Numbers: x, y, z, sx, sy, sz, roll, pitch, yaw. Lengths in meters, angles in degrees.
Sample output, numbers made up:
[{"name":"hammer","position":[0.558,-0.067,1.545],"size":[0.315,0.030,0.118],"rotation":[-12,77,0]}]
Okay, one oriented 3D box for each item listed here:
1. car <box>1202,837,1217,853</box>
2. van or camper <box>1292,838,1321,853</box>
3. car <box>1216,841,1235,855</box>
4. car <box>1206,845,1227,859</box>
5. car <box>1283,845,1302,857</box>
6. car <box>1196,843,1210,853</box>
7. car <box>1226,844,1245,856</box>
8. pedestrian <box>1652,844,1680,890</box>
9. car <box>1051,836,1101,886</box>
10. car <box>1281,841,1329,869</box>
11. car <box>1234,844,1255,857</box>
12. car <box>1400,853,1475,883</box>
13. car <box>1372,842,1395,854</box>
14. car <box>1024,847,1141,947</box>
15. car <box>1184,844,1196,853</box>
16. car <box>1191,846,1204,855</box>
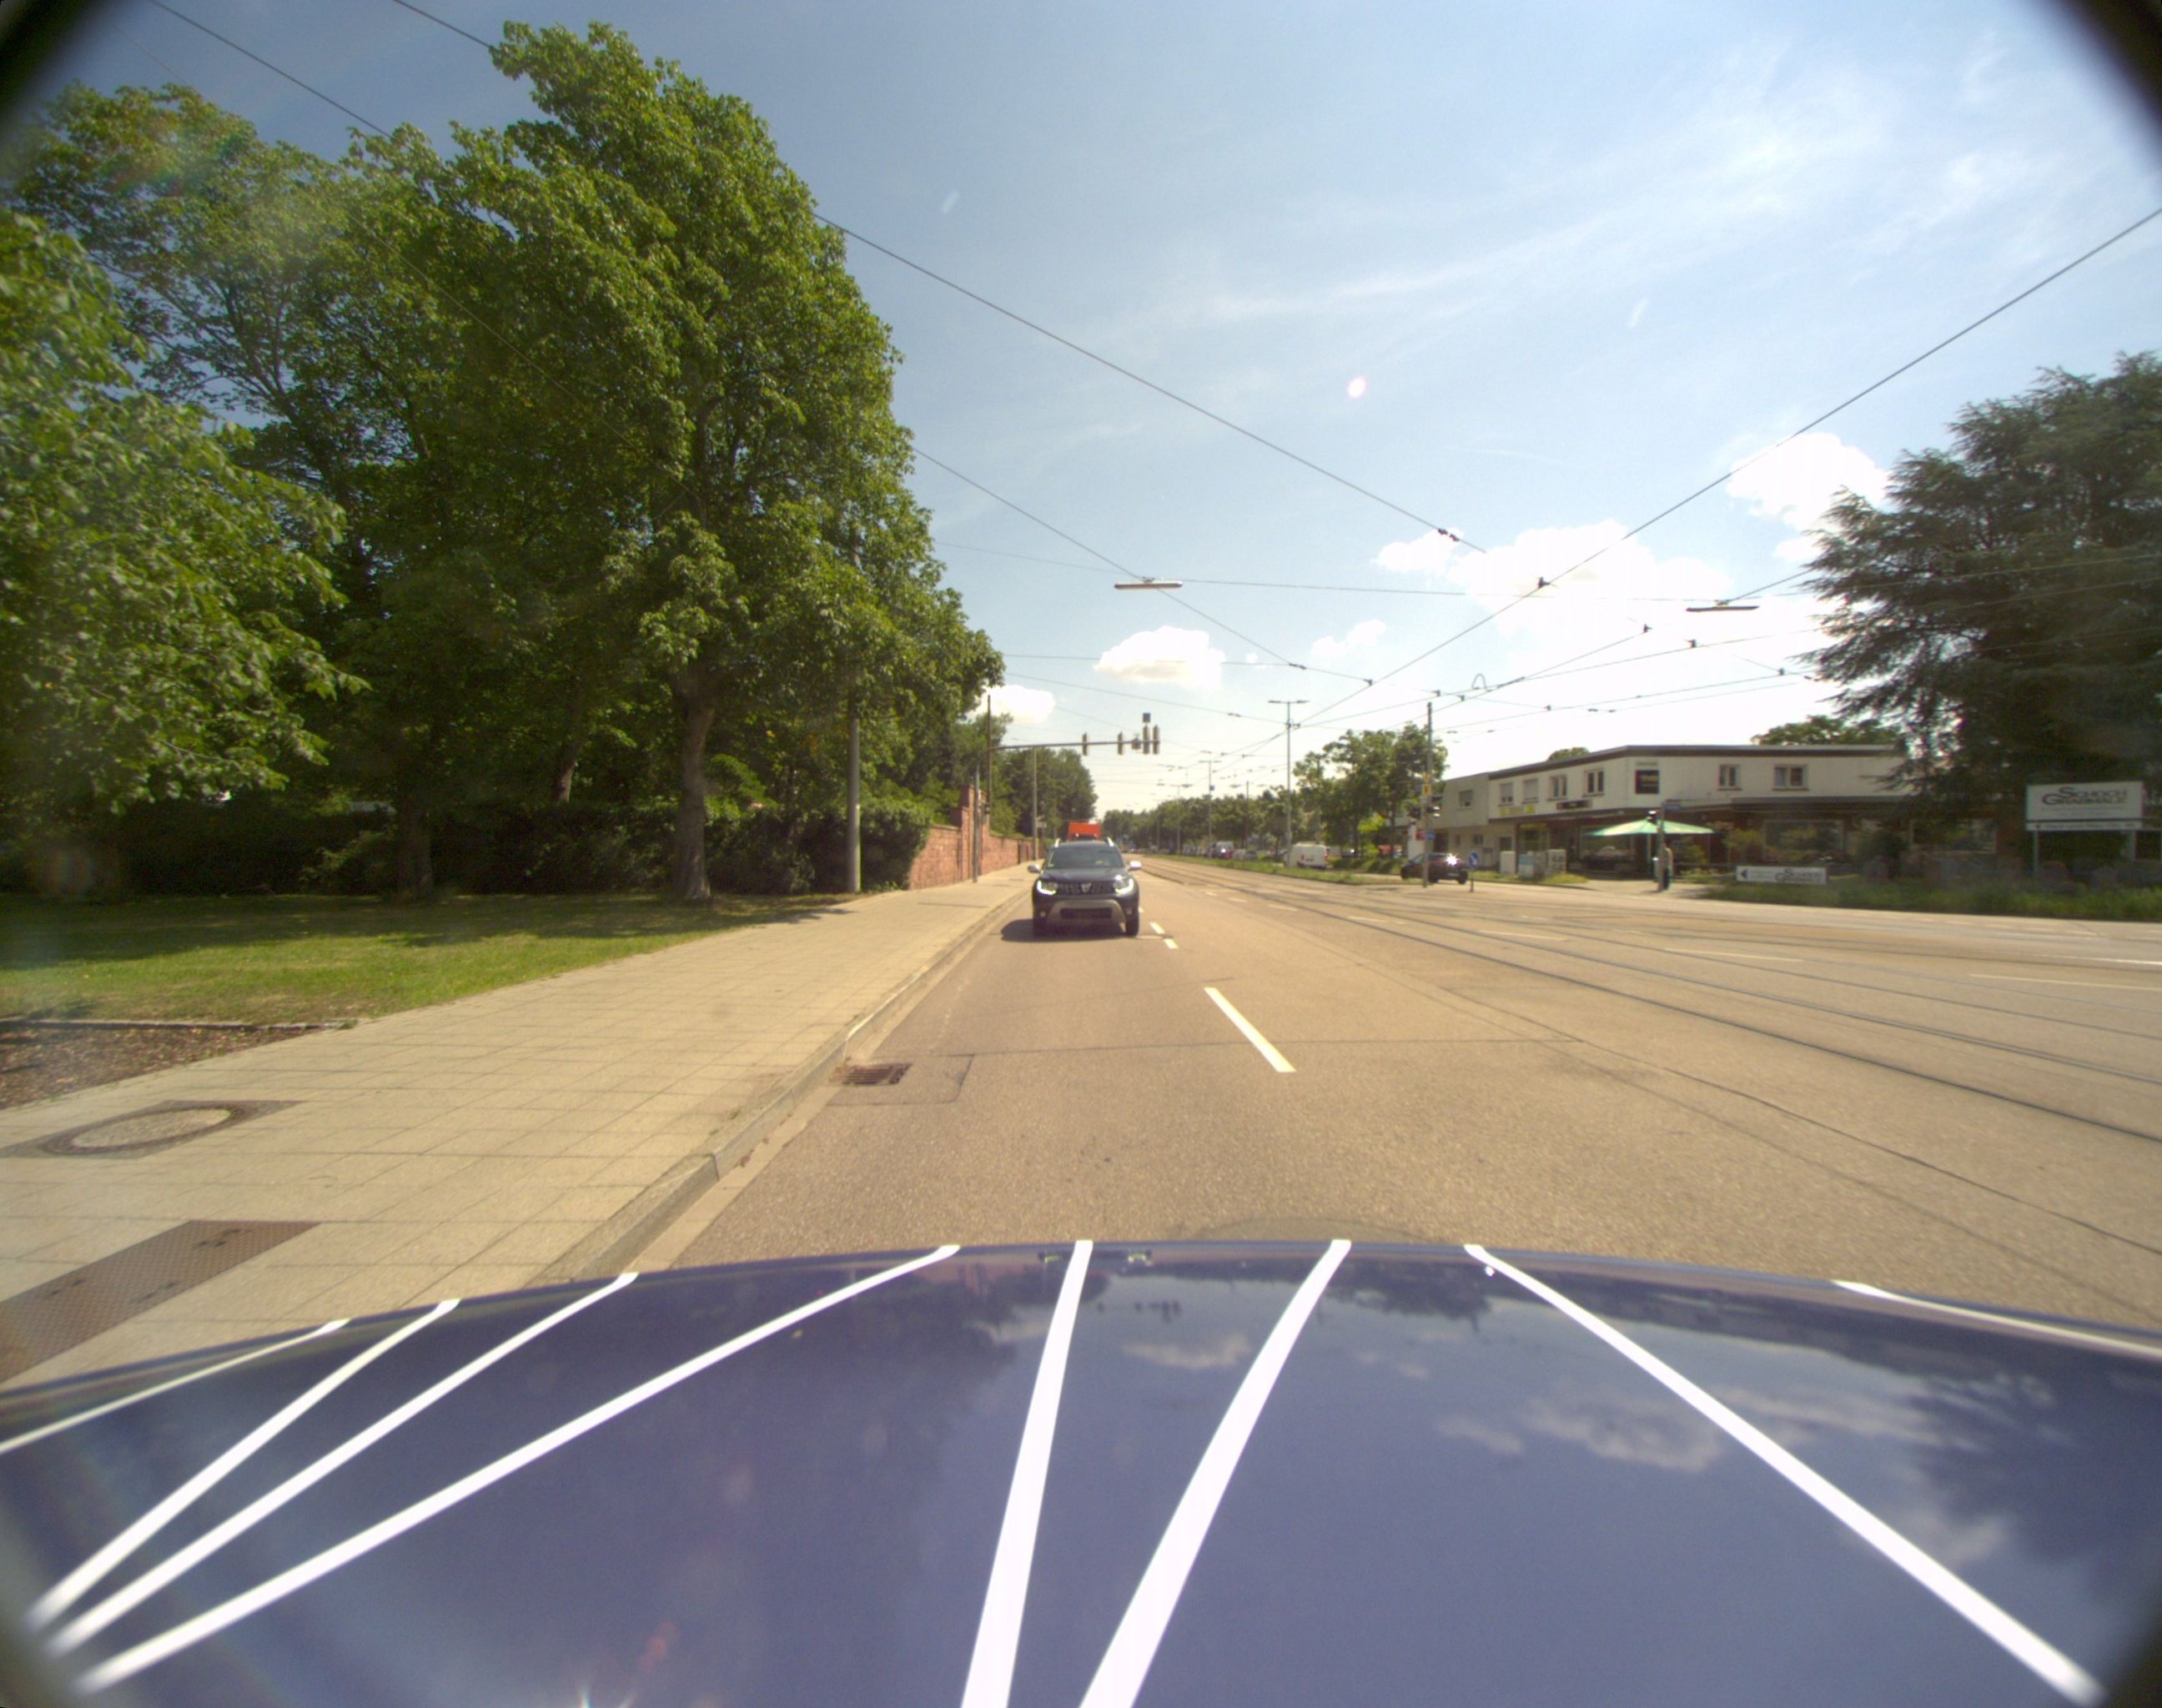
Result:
[{"name":"car","position":[20.994,-1.402,124.038],"size":[1.744,2.573,3.999],"rotation":[0,1,0]},{"name":"van or camper","position":[44.942,-1.679,151.296],"size":[5.157,3.099,2.247],"rotation":[0,1,0]},{"name":"car","position":[20.755,-0.863,109.263],"size":[1.966,1.953,3.999],"rotation":[0,1,0]},{"name":"car","position":[15.753,-0.278,88.669],"size":[1.744,1.587,3.999],"rotation":[0,1,0]},{"name":"car","position":[31.445,-0.491,113.207],"size":[1.744,1.684,3.999],"rotation":[0,1,0]},{"name":"car","position":[21.307,-1.112,132.812],"size":[1.744,1.684,3.999],"rotation":[0,1,0]},{"name":"car","position":[20.852,-0.518,102.690],"size":[1.744,1.587,3.999],"rotation":[0,1,0]},{"name":"pedestrian","position":[23.104,0.495,30.008],"size":[0.488,1.765,0.682],"rotation":[-5,3,-18]},{"name":"car","position":[-0.242,0.247,32.597],"size":[1.999,2.002,3.999],"rotation":[0,1,-1]},{"name":"car","position":[16.099,0.054,54.829],"size":[1.863,1.865,4.553],"rotation":[0,1,-3]},{"name":"car","position":[20.847,-0.444,96.959],"size":[1.744,1.587,3.999],"rotation":[0,1,0]},{"name":"car","position":[16.931,0.631,36.306],"size":[1.784,1.346,4.000],"rotation":[0,1,1]},{"name":"car","position":[43.603,-0.815,109.534],"size":[1.744,1.684,3.999],"rotation":[0,1,0]},{"name":"car","position":[0.107,0.660,14.305],"size":[1.845,1.565,4.487],"rotation":[0,1,2]},{"name":"car","position":[20.869,-0.977,145.811],"size":[1.744,1.684,3.999],"rotation":[0,1,0]},{"name":"car","position":[21.366,-0.679,139.674],"size":[1.744,1.684,3.999],"rotation":[0,1,0]}]
